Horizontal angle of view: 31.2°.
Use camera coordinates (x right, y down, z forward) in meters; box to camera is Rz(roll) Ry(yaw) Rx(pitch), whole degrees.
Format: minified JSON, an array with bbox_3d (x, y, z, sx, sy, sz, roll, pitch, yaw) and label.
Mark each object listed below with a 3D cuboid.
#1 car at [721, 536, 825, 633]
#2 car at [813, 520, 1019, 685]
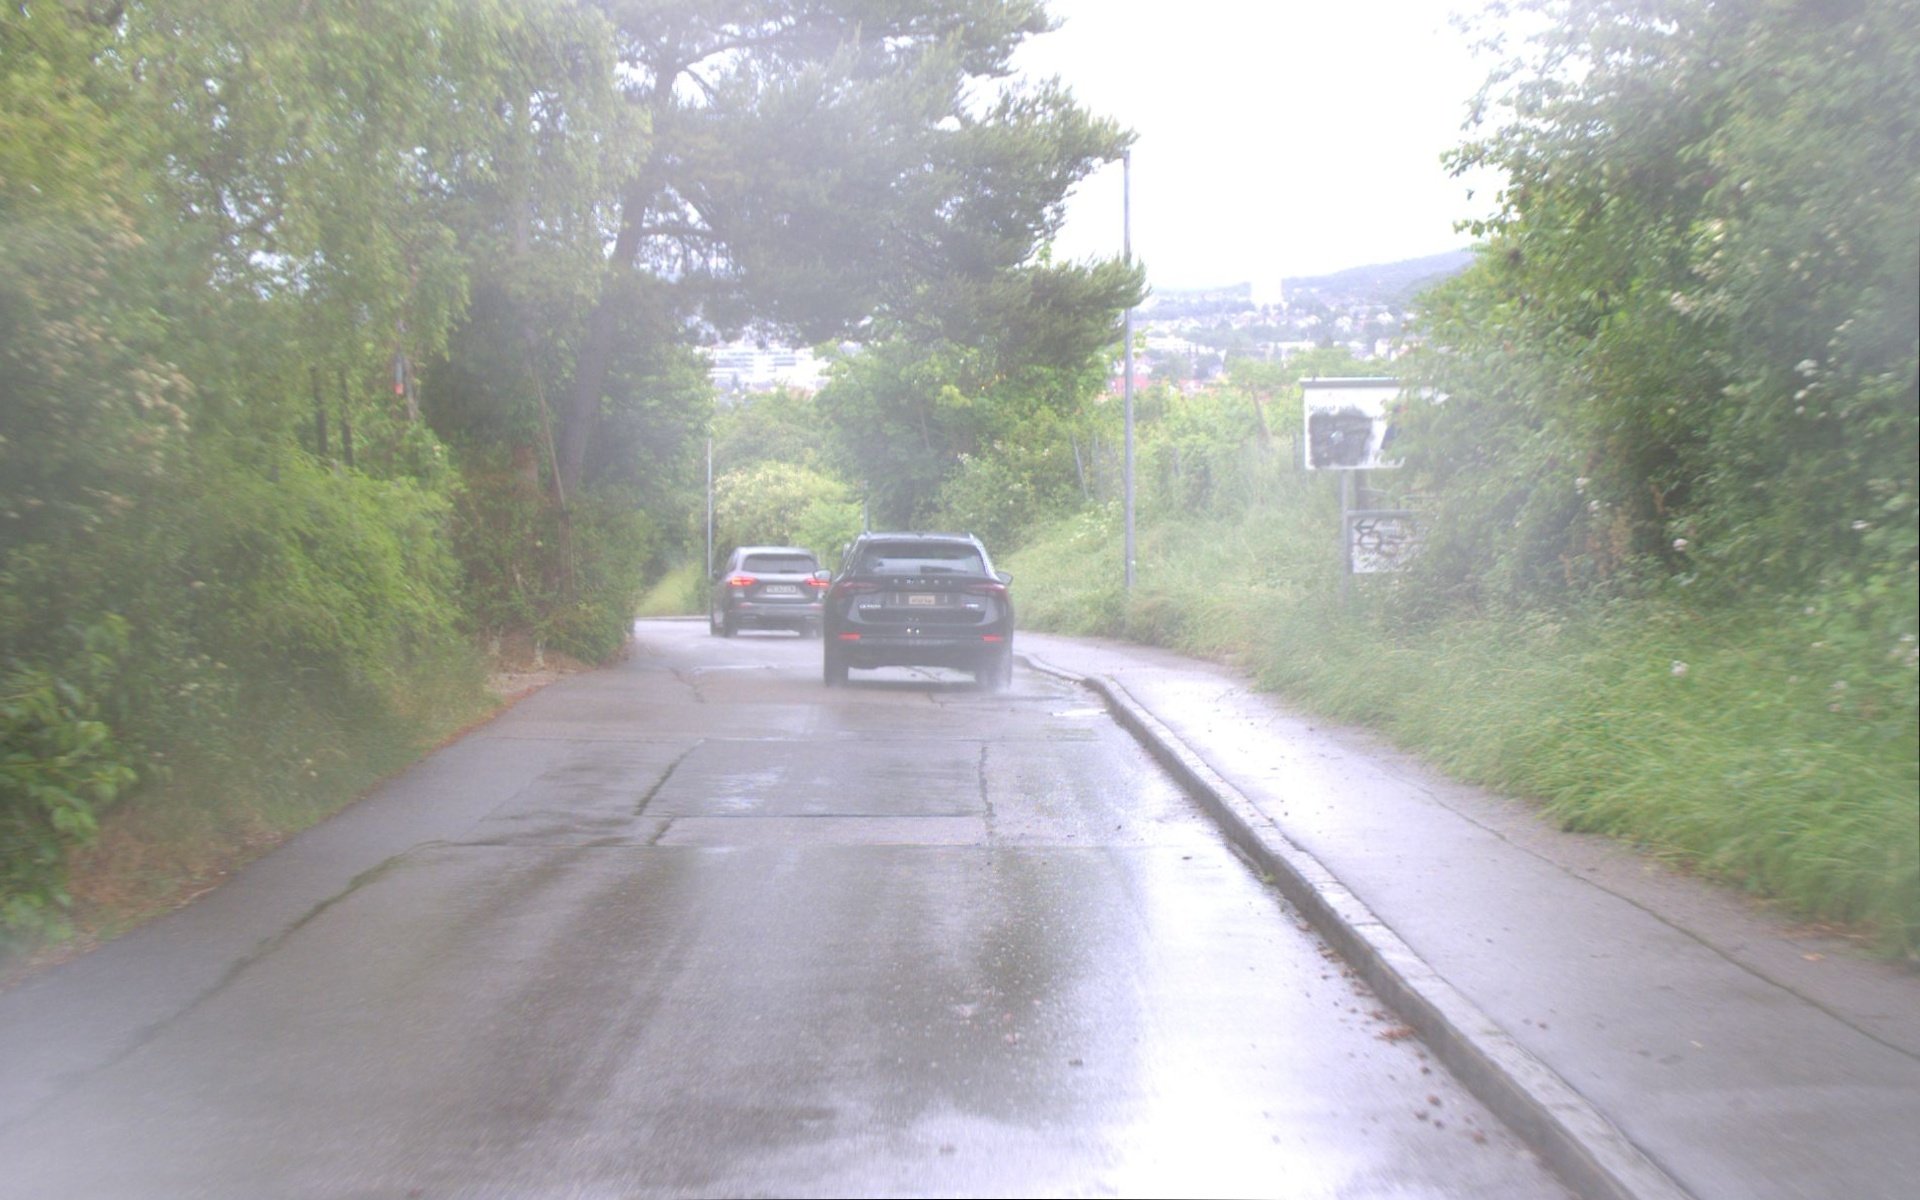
[{"bbox_3d":[-3.182,-0.291,58.164,1.678,1.560,3.795,1,1,-4],"label":"car"},{"bbox_3d":[-0.446,0.001,32.950,1.835,1.459,4.000,-1,1,-2],"label":"car"}]
